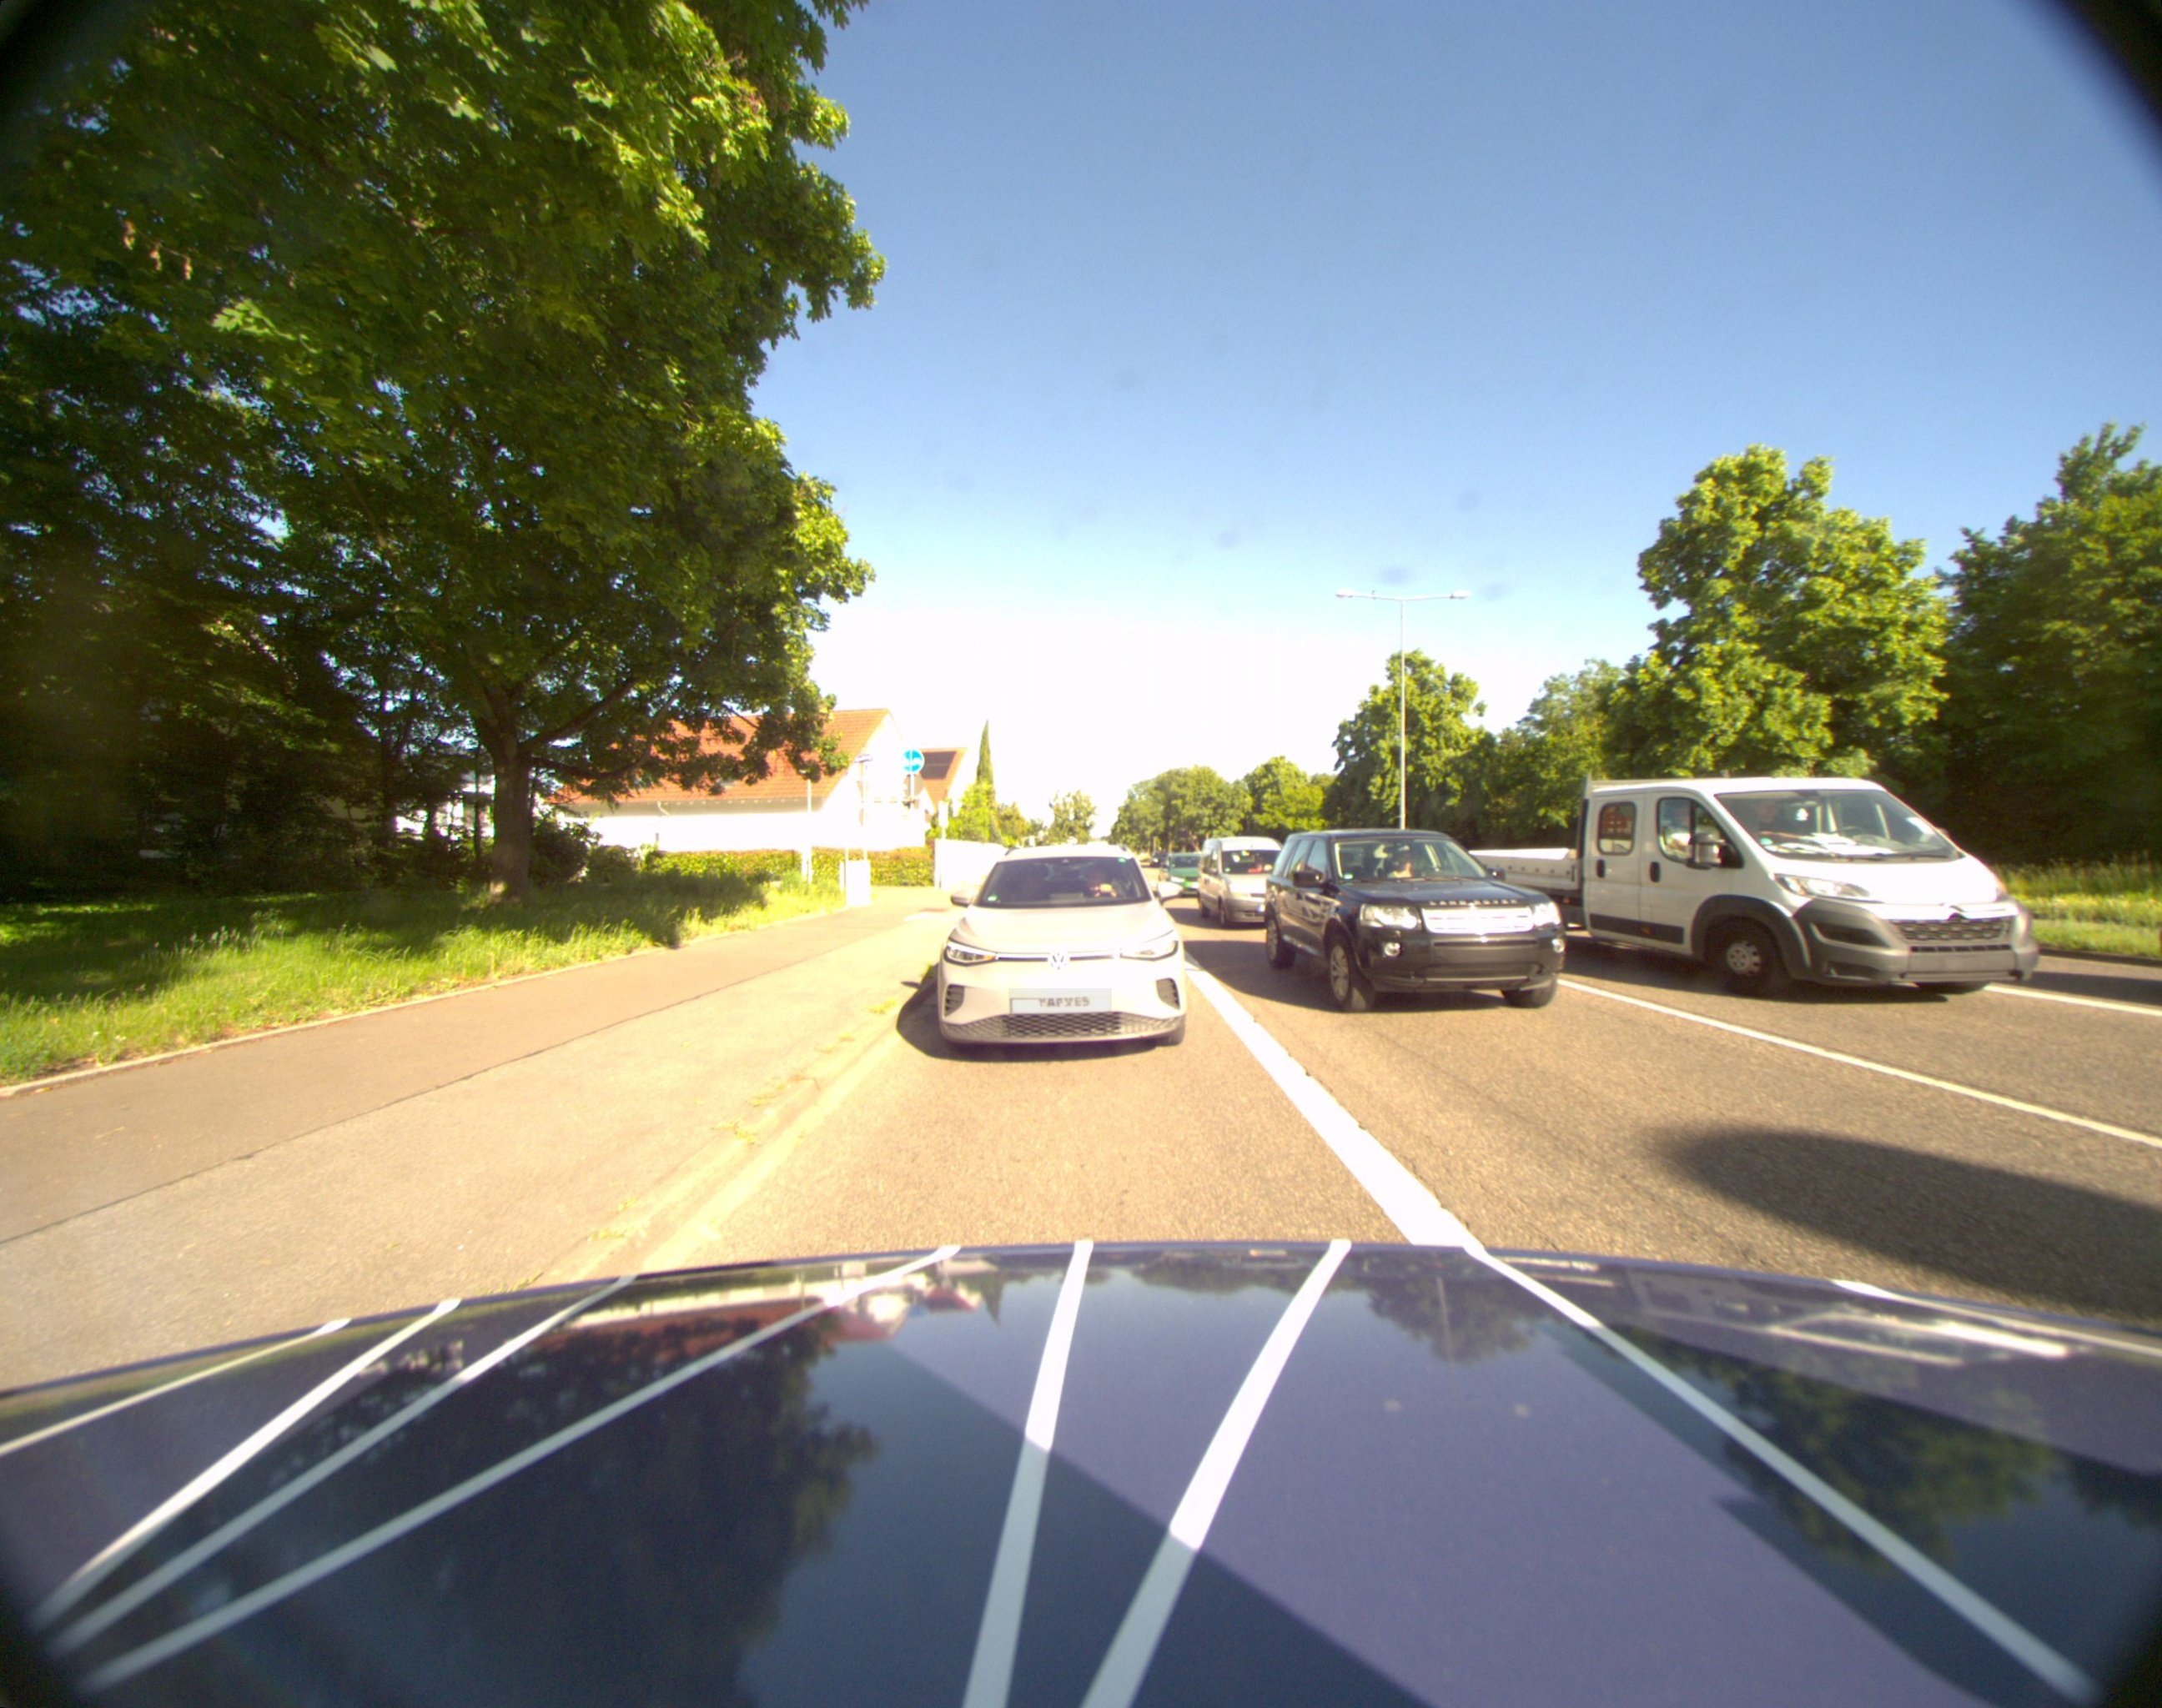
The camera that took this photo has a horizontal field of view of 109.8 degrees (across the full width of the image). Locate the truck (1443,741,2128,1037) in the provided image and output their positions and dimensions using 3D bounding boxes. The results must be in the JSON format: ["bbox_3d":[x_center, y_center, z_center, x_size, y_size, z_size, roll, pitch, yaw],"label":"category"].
[{"bbox_3d":[7.257,0.231,9.483,2.185,2.307,6.841,-2,1,0],"label":"truck"}]

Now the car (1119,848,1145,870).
[{"bbox_3d":[3.801,0.340,57.299,1.726,1.630,4.000,0,0,1],"label":"car"}]

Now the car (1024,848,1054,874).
[{"bbox_3d":[-2.620,0.435,47.923,1.630,1.523,3.931,-1,0,0],"label":"car"}]

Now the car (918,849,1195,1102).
[{"bbox_3d":[-0.136,0.808,7.221,1.858,1.679,4.206,0,1,1],"label":"car"}]

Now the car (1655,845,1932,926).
[{"bbox_3d":[15.827,0.608,17.330,1.998,1.592,4.615,0,0,1],"label":"car"}]

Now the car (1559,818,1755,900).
[{"bbox_3d":[19.339,0.147,26.021,2.105,2.478,6.003,0,0,-1],"label":"car"}]

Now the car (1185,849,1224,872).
[{"bbox_3d":[7.864,0.383,48.715,1.727,1.436,3.999,0,0,-3],"label":"car"}]

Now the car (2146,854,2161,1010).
[{"bbox_3d":[10.705,0.722,4.709,1.835,1.421,4.552,0,0,1],"label":"car"}]

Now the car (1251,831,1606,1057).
[{"bbox_3d":[3.198,0.670,8.104,1.816,1.721,4.385,-2,1,1],"label":"car"}]

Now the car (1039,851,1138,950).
[{"bbox_3d":[0.164,0.783,14.890,1.632,1.586,4.024,-2,1,1],"label":"car"}]

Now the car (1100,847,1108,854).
[{"bbox_3d":[4.800,-0.753,160.562,1.726,1.630,4.000,0,0,1],"label":"car"}]

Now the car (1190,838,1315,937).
[{"bbox_3d":[3.381,0.564,15.783,1.632,1.741,4.385,-2,1,1],"label":"car"}]

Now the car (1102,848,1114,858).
[{"bbox_3d":[4.283,-0.203,120.028,1.726,1.630,4.000,0,0,1],"label":"car"}]

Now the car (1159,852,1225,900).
[{"bbox_3d":[3.619,0.663,25.360,1.630,1.466,3.931,0,0,0],"label":"car"}]
